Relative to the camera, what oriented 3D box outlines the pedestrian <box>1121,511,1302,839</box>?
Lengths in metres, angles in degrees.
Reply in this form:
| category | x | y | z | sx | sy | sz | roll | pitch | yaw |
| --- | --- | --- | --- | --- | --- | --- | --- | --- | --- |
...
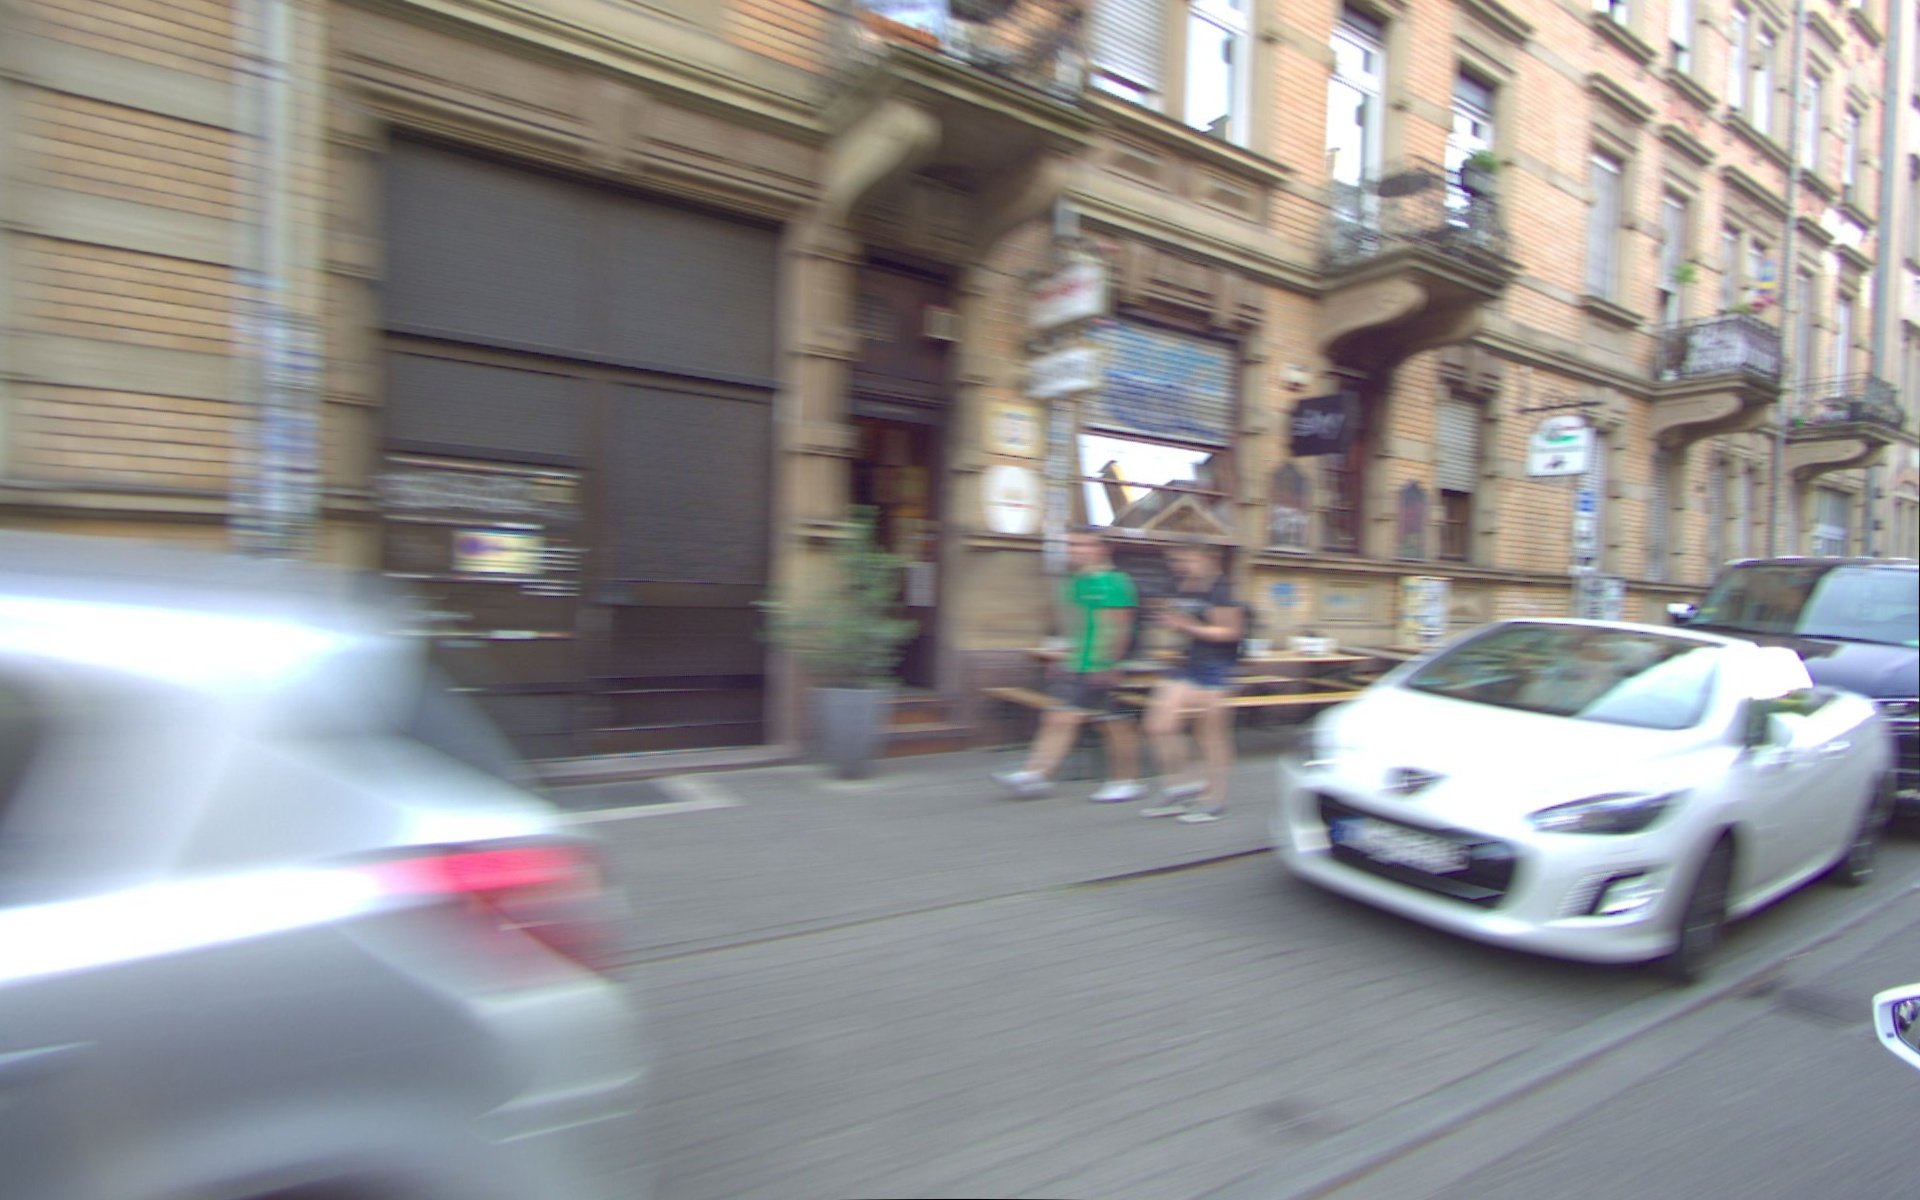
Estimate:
| category | x | y | z | sx | sy | sz | roll | pitch | yaw |
| --- | --- | --- | --- | --- | --- | --- | --- | --- | --- |
| pedestrian | 1.486 | 0.395 | 5.953 | 0.770 | 1.796 | 0.600 | 0 | 5 | -38 |

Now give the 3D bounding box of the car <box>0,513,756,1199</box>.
| category | x | y | z | sx | sy | sz | roll | pitch | yaw |
| --- | --- | --- | --- | --- | --- | --- | --- | --- | --- |
| car | -2.457 | 0.578 | 1.256 | 3.957 | 1.477 | 1.707 | 1 | 3 | -33 |

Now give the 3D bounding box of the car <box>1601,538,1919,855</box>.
| category | x | y | z | sx | sy | sz | roll | pitch | yaw |
| --- | --- | --- | --- | --- | --- | --- | --- | --- | --- |
| car | 7.507 | 0.599 | 8.351 | 4.905 | 1.950 | 1.978 | 1 | 3 | -37 |

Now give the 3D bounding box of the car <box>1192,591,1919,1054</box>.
| category | x | y | z | sx | sy | sz | roll | pitch | yaw |
| --- | --- | --- | --- | --- | --- | --- | --- | --- | --- |
| car | 3.436 | 0.769 | 5.344 | 4.442 | 1.442 | 1.771 | 1 | 3 | -36 |

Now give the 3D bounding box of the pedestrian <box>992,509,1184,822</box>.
| category | x | y | z | sx | sy | sz | roll | pitch | yaw |
| --- | --- | --- | --- | --- | --- | --- | --- | --- | --- |
| pedestrian | 0.800 | 0.360 | 6.264 | 0.988 | 1.796 | 0.575 | 0 | 5 | -38 |
